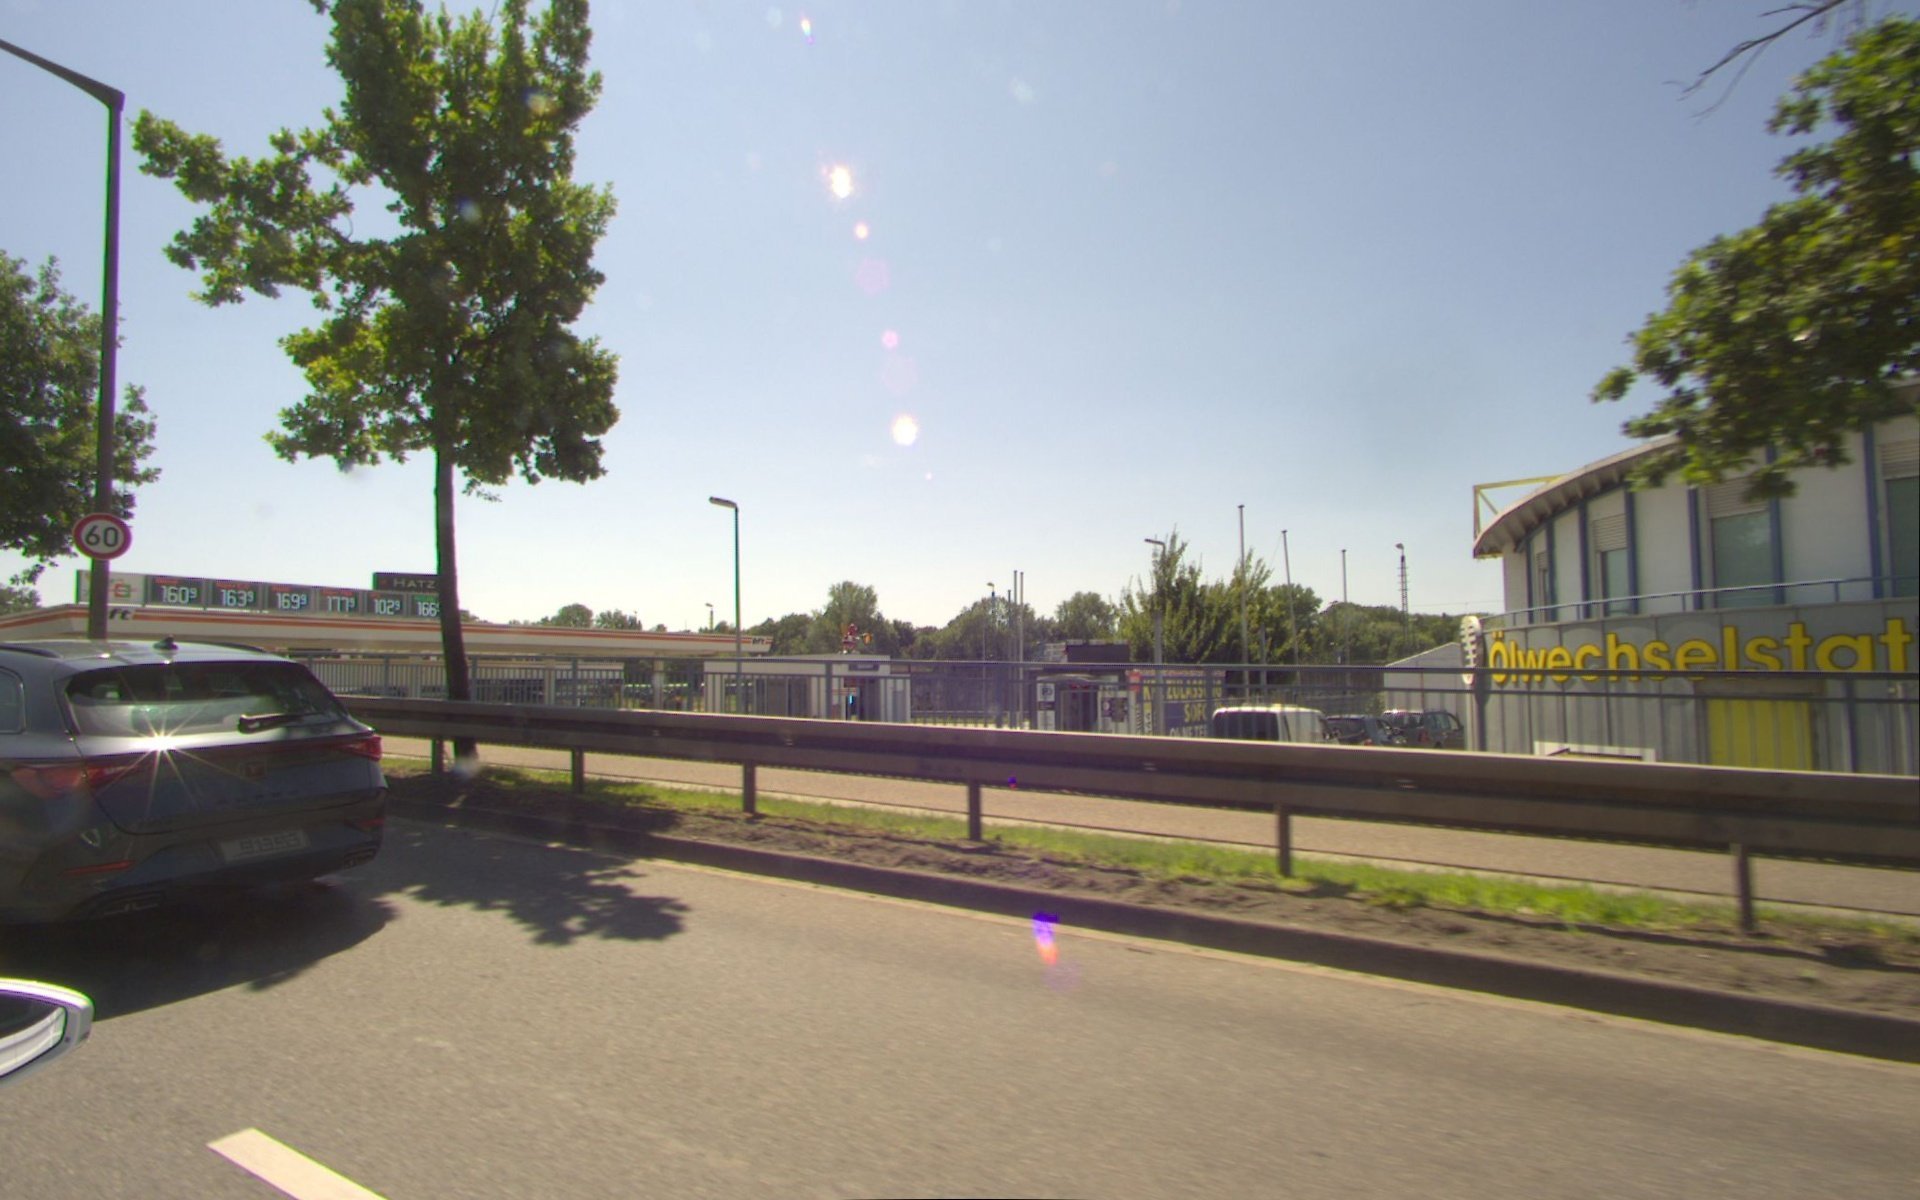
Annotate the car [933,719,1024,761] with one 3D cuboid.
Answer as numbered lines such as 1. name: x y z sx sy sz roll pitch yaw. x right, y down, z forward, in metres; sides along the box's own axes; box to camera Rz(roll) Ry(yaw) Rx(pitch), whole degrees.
1. car: 0.538 4.150 29.877 2.524 1.091 1.105 -3 -4 32

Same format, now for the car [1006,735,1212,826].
1. car: 2.427 3.015 16.888 3.253 1.324 1.466 -1 -4 1

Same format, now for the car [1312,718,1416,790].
1. car: 10.575 3.928 26.081 1.454 1.492 4.121 -3 -5 37

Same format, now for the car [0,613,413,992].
1. car: -5.134 0.928 5.636 4.171 1.473 1.604 -3 -4 28

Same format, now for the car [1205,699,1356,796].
1. car: 6.904 3.018 21.257 1.577 1.680 4.581 -3 -5 37

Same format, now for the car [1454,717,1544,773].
1. car: 18.315 4.848 33.961 1.672 1.570 3.966 -4 -5 43

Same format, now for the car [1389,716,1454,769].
1. car: 13.951 4.258 30.213 1.208 1.366 2.696 -3 -5 37

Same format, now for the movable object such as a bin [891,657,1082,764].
1. movable object such as a bin: 1.460 4.274 40.919 2.992 3.752 11.039 -3 -4 29
